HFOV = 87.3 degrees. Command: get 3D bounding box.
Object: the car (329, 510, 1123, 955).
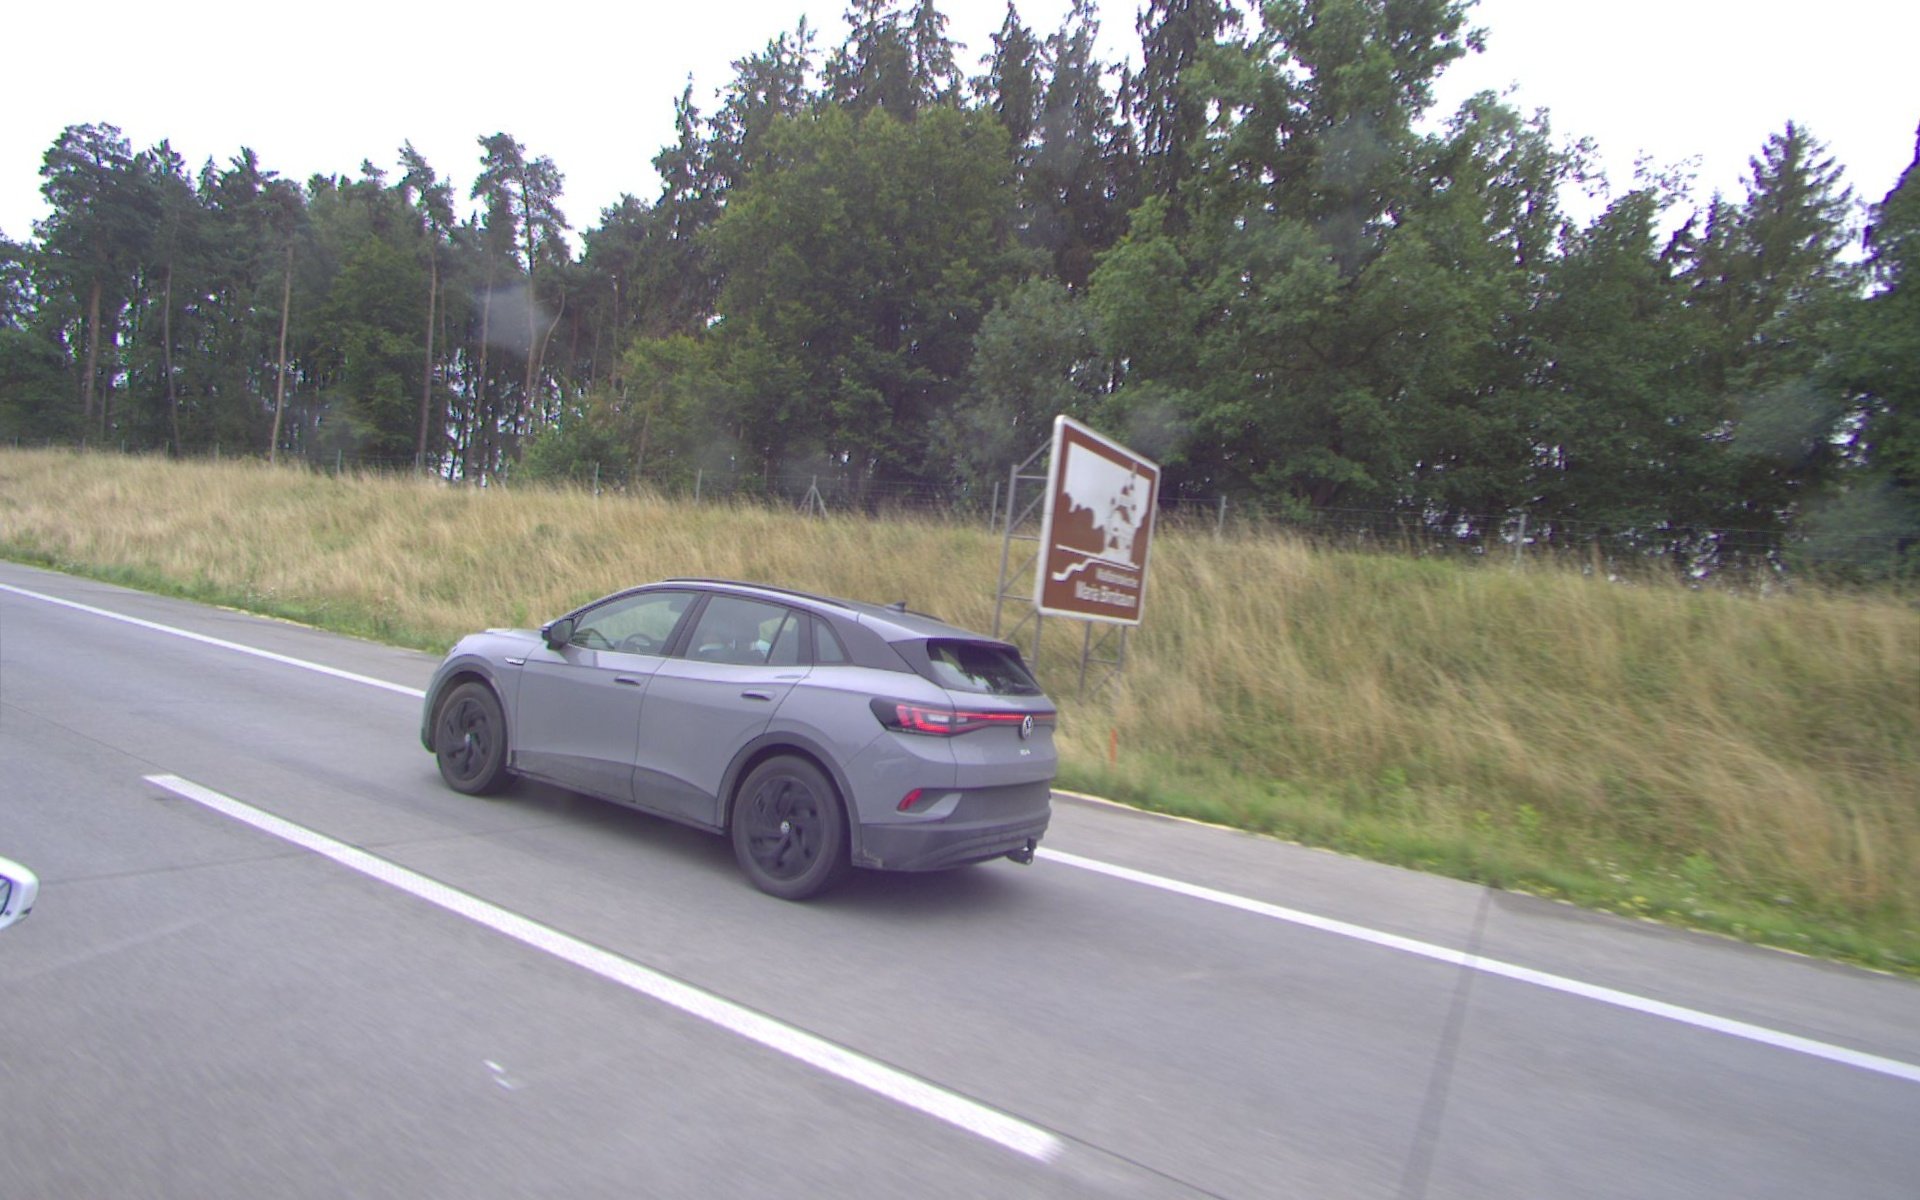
[{"bbox_3d":[-1.772,0.585,6.788,5.177,1.709,1.902,8,-1,30],"label":"car"}]
